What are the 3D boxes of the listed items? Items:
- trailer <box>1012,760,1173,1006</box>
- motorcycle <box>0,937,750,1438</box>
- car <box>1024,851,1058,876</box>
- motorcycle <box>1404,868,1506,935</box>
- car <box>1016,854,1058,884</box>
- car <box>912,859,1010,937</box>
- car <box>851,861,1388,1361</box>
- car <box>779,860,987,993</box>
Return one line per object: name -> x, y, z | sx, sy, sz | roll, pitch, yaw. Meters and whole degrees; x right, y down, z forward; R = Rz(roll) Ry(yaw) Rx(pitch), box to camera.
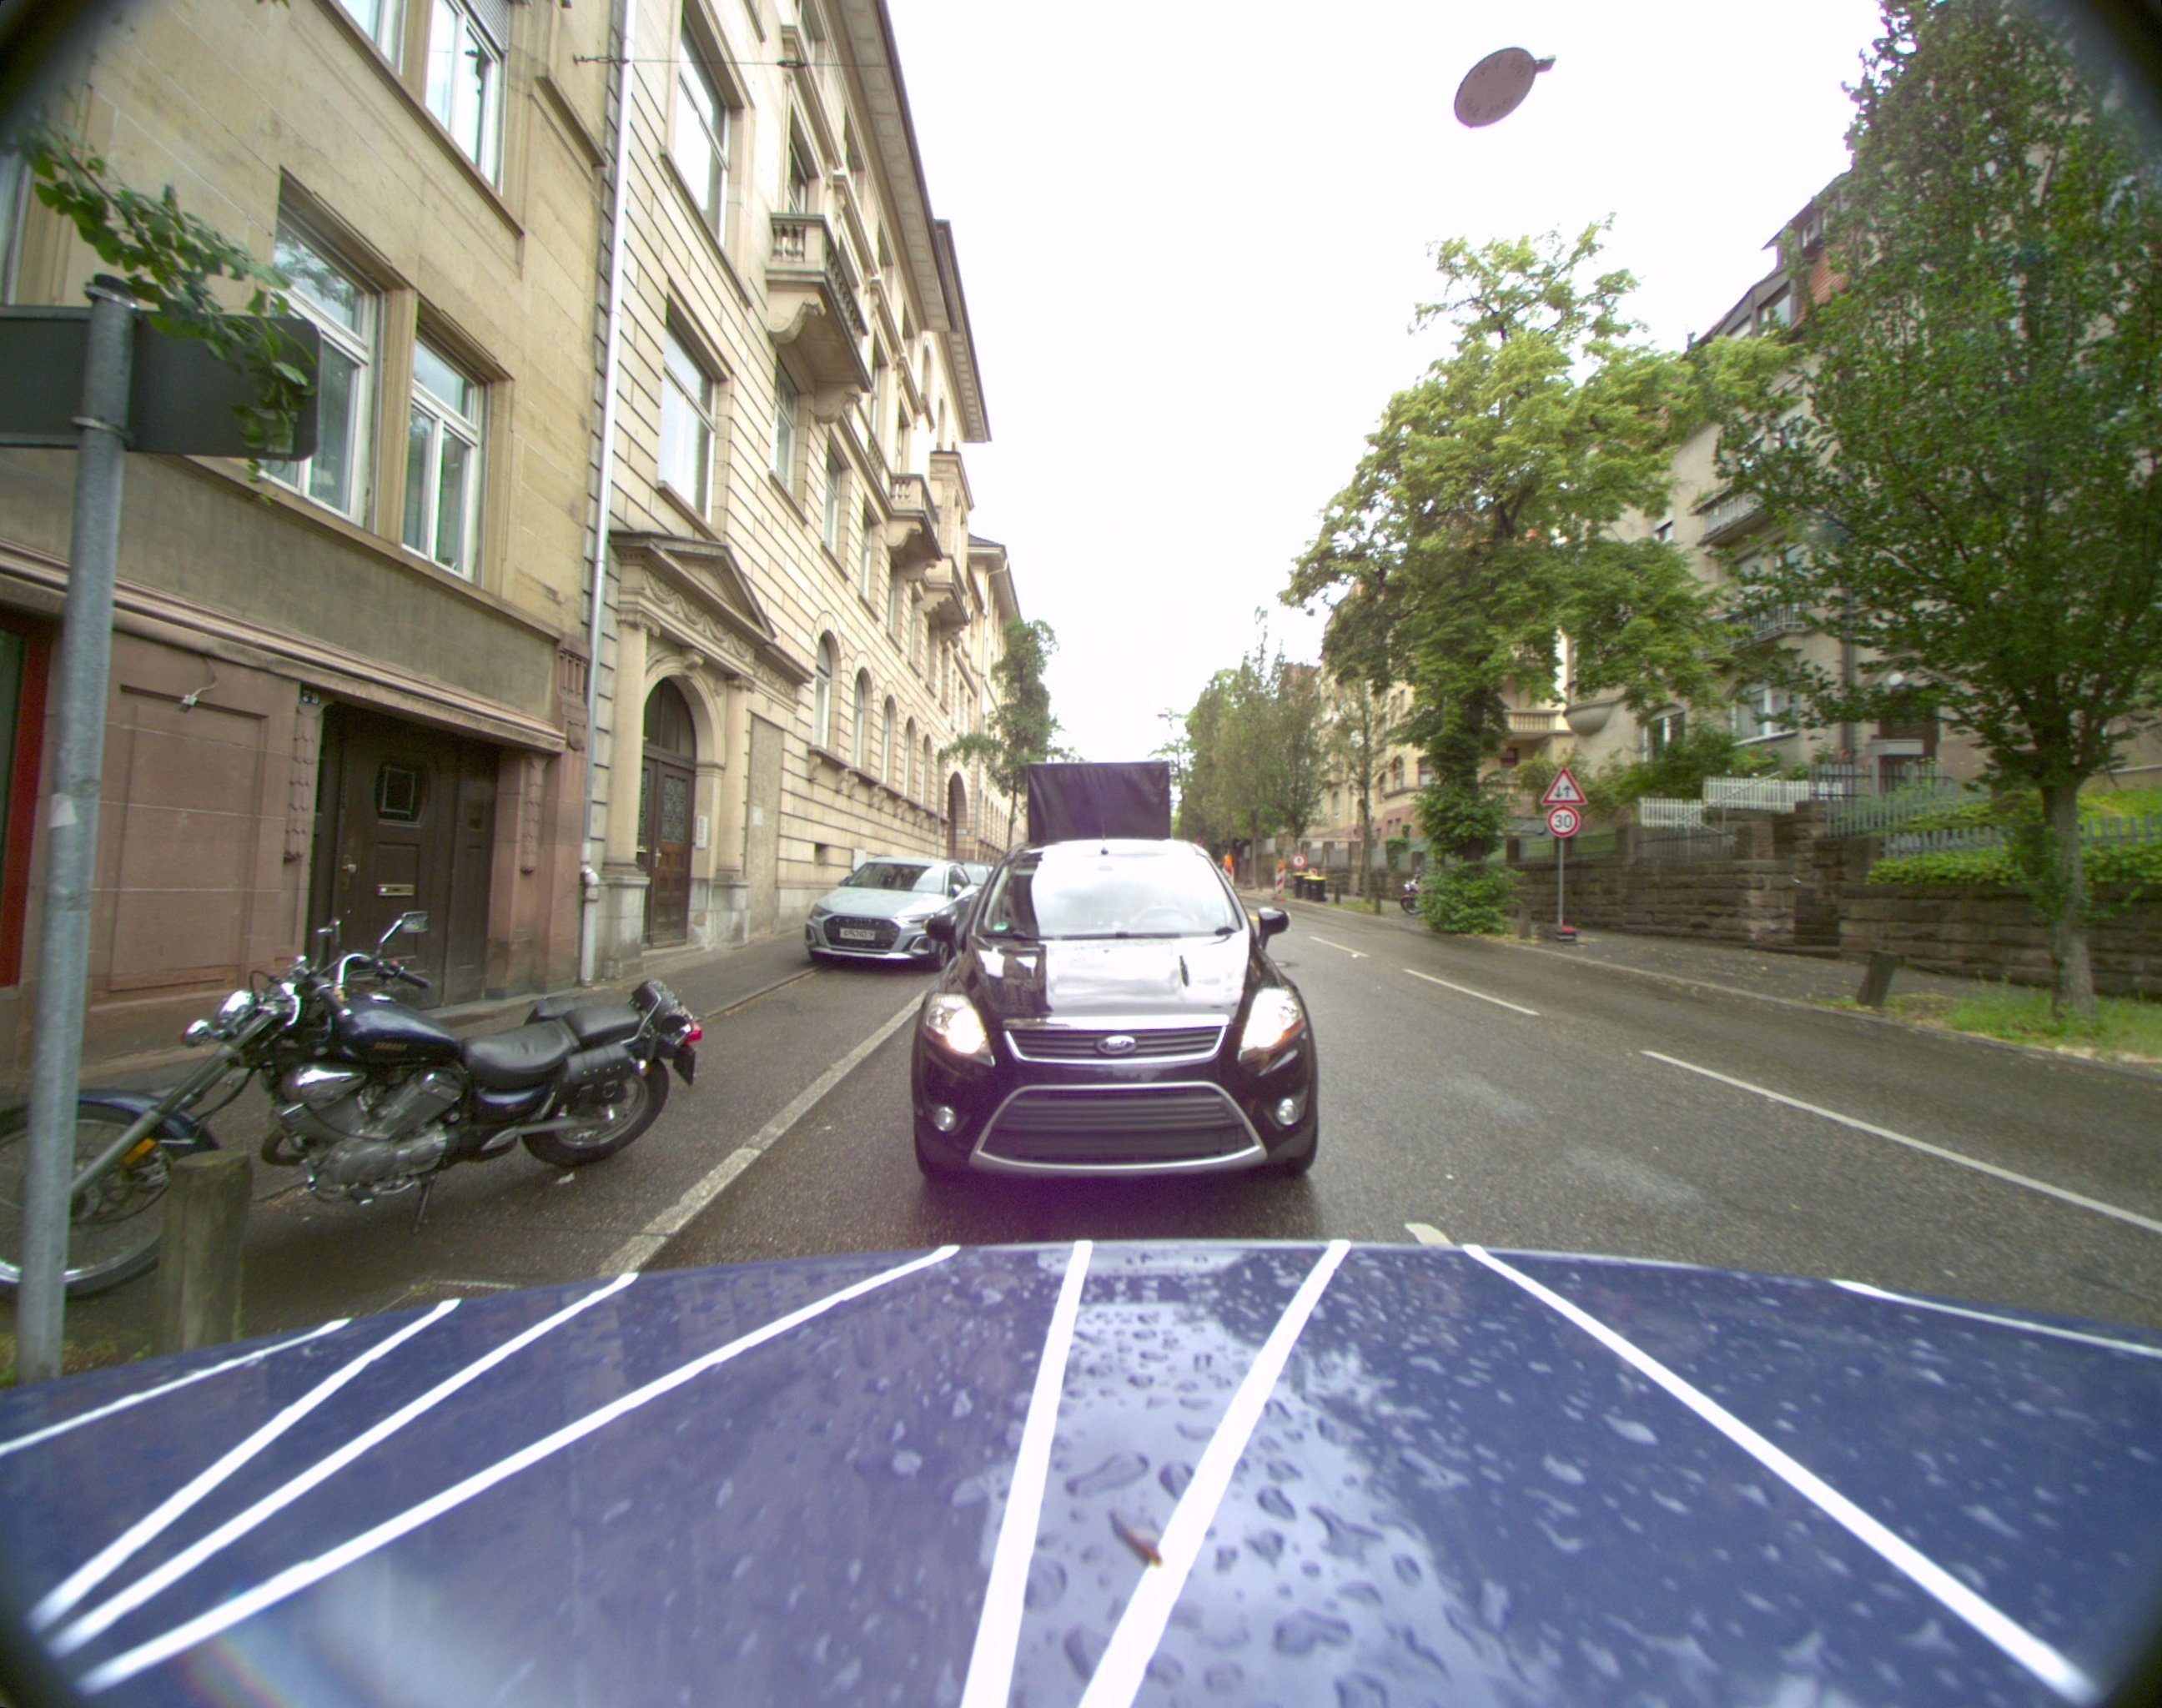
trailer -> 0.128, 0.304, 10.931 | 1.783, 2.744, 4.816 | 0, 1, 0
motorcycle -> -2.536, 0.995, 2.891 | 0.523, 1.236, 2.282 | 4, -1, 39
car -> -2.622, 0.604, 50.897 | 1.910, 1.503, 4.318 | 3, 0, 1
motorcycle -> 8.897, 1.070, 18.282 | 0.802, 1.406, 3.061 | -2, 0, -2
car -> -2.394, 0.803, 42.544 | 1.910, 1.503, 4.318 | 3, 0, 1
car -> -2.529, 0.872, 16.612 | 1.495, 1.440, 3.181 | 3, 0, 1
car -> 0.187, 0.896, 4.851 | 1.823, 1.662, 4.522 | 0, 0, 1
car -> -2.604, 0.870, 11.019 | 1.794, 1.444, 4.039 | 3, 0, 1
